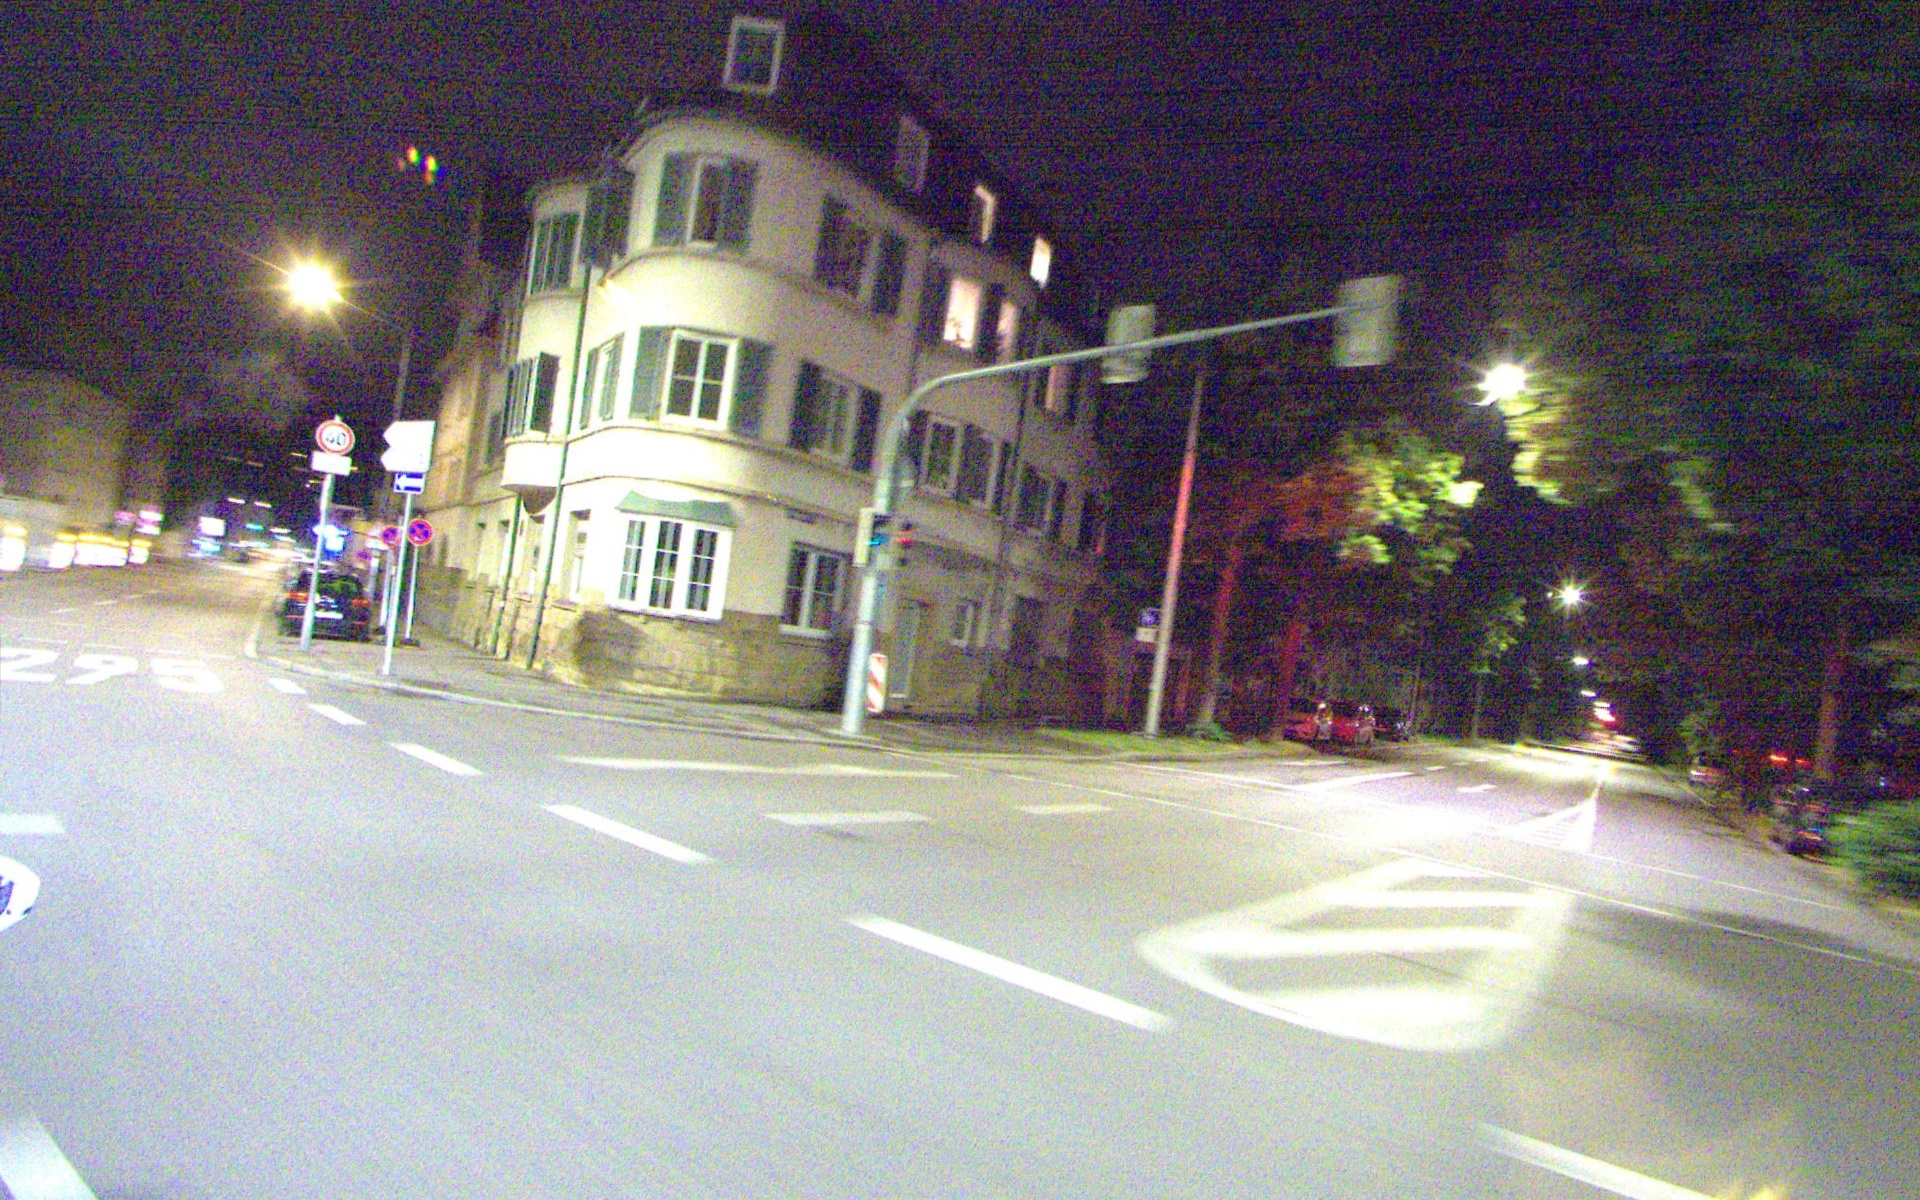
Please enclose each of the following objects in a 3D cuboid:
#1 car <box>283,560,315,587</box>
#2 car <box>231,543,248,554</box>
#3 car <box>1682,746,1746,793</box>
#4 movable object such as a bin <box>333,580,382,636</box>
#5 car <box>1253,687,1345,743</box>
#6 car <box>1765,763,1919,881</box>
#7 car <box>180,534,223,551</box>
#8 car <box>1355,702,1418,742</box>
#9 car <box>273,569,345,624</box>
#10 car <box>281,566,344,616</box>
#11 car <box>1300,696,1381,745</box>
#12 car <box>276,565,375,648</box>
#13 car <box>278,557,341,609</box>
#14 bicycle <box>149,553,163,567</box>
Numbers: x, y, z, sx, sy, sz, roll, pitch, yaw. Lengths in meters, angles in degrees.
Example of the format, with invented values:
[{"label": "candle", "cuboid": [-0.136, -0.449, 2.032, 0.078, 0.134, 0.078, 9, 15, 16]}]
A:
[{"label": "car", "cuboid": [-55.043, -2.210, 83.735, 1.791, 1.897, 4.727, 7, -2, -37]}, {"label": "car", "cuboid": [-123.499, -8.865, 172.456, 1.983, 1.518, 3.966, 10, -4, -34]}, {"label": "car", "cuboid": [34.703, 7.847, 46.368, 1.968, 1.679, 3.901, 7, -6, 34]}, {"label": "movable object such as a bin", "cuboid": [-17.078, 0.221, 28.526, 0.932, 1.449, 1.326, 7, -2, -37]}, {"label": "car", "cuboid": [11.853, 4.035, 35.008, 1.968, 1.521, 3.995, 6, -4, 34]}, {"label": "car", "cuboid": [16.269, 3.977, 18.492, 1.970, 1.606, 3.992, 6, -4, 36]}, {"label": "car", "cuboid": [-102.087, -7.730, 135.485, 4.416, 1.465, 1.983, 10, -4, -35]}, {"label": "car", "cuboid": [20.349, 5.846, 47.961, 1.968, 1.521, 3.995, 6, -4, 34]}, {"label": "car", "cuboid": [-21.655, -0.162, 33.386, 1.733, 1.526, 4.791, 7, -3, -34]}, {"label": "car", "cuboid": [-24.310, -0.364, 37.695, 1.733, 1.584, 4.174, 7, -3, -34]}, {"label": "car", "cuboid": [14.631, 4.648, 38.592, 1.968, 1.521, 3.995, 6, -4, 34]}, {"label": "car", "cuboid": [-15.602, 0.109, 24.641, 1.733, 1.702, 4.221, 7, -3, -34]}, {"label": "car", "cuboid": [-29.106, -0.780, 44.956, 2.059, 1.950, 5.324, 7, -3, -34]}, {"label": "bicycle", "cuboid": [-66.376, -3.302, 83.100, 0.616, 1.063, 1.707, 9, -3, -33]}]
